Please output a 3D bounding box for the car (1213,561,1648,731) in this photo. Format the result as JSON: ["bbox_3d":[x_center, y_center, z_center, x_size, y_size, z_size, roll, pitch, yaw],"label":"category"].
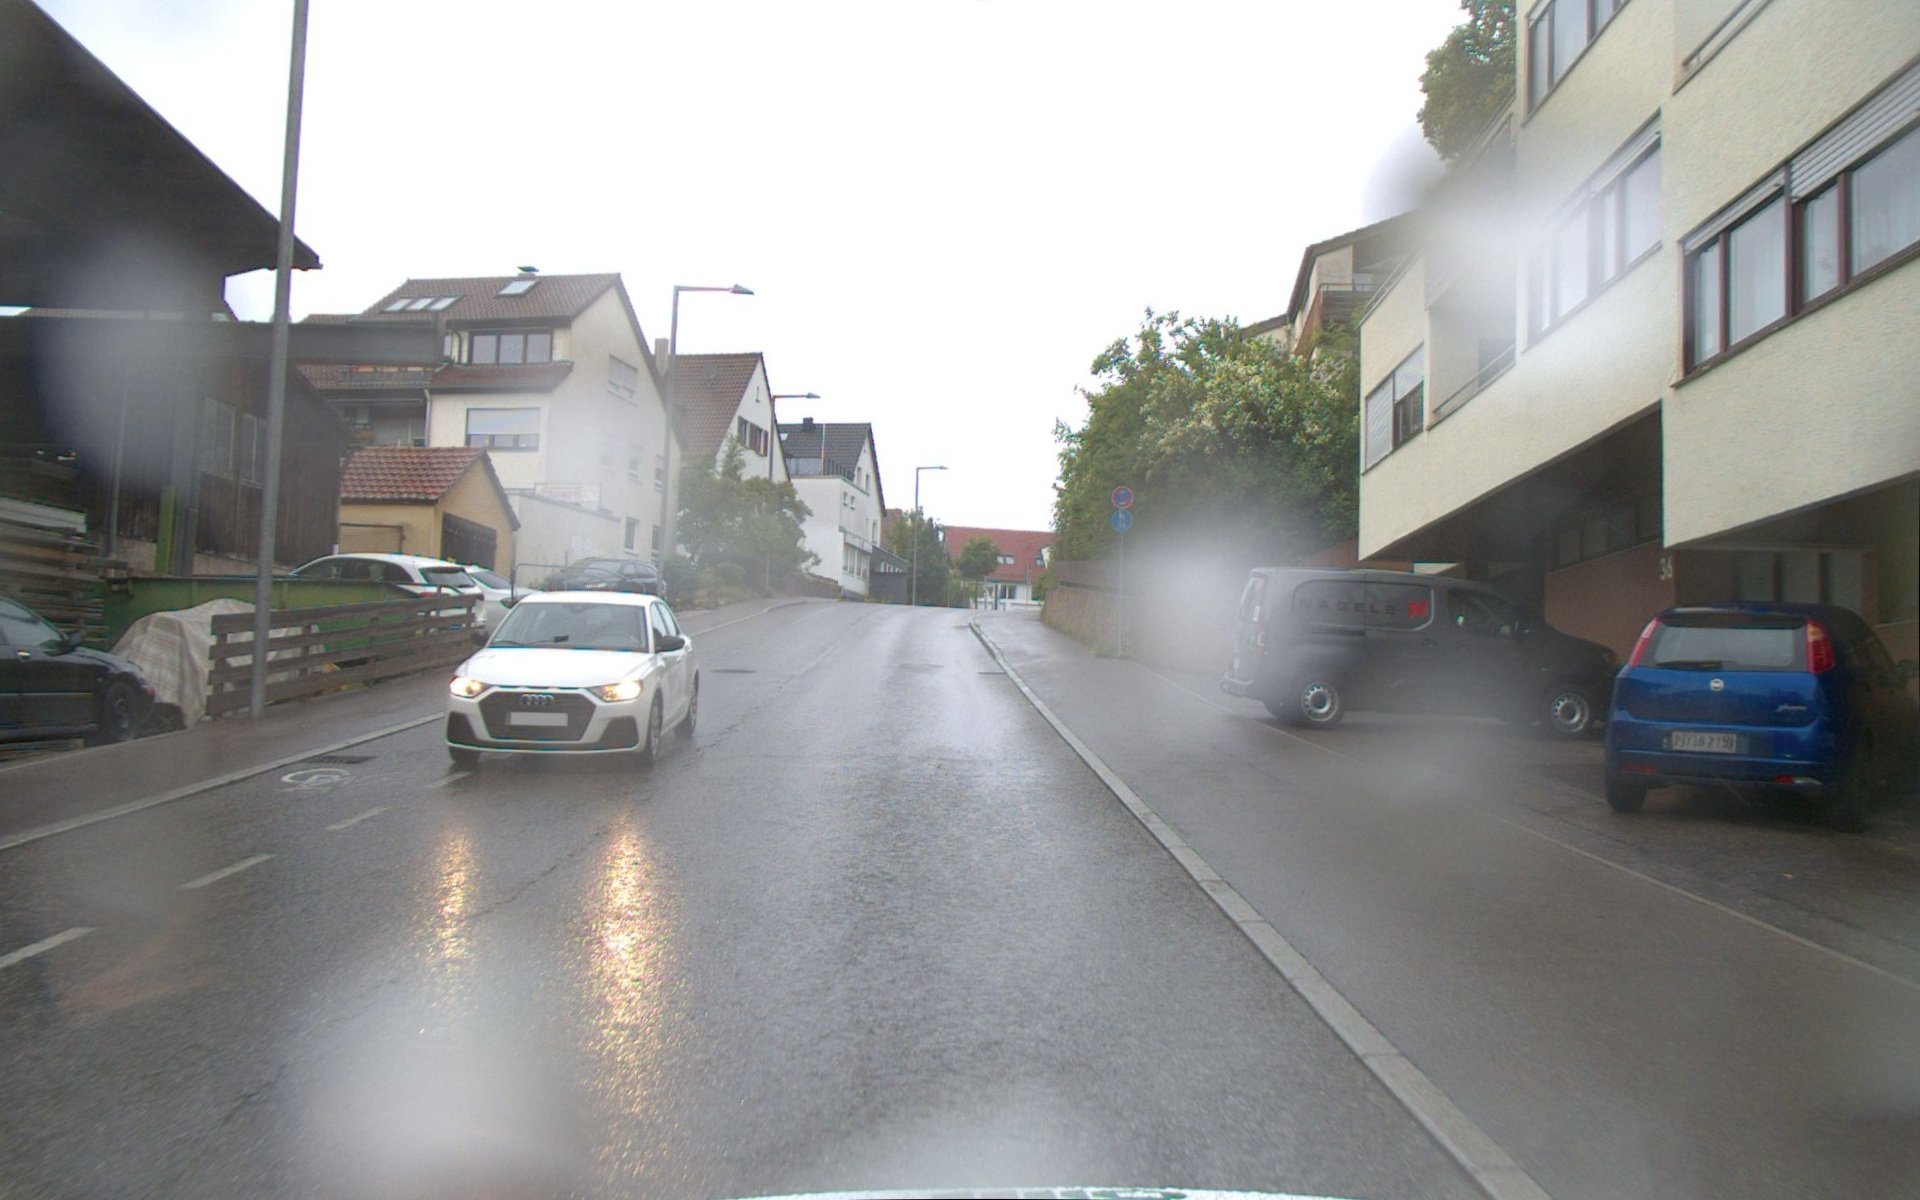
[{"bbox_3d":[5.518,0.519,19.824,4.612,1.852,1.999,1,0,-2],"label":"car"}]

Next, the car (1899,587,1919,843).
[{"bbox_3d":[6.553,0.735,9.416,1.747,1.606,4.063,3,0,26],"label":"car"}]

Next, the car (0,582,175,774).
[{"bbox_3d":[-8.254,0.597,13.169,1.855,1.466,4.446,0,0,0],"label":"car"}]

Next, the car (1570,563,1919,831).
[{"bbox_3d":[6.127,0.655,12.491,1.753,1.606,4.050,3,0,36],"label":"car"}]

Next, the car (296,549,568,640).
[{"bbox_3d":[-9.750,-0.113,30.690,4.400,1.531,1.902,1,0,11],"label":"car"}]

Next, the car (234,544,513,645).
[{"bbox_3d":[-9.678,-0.099,27.433,3.902,1.531,1.902,1,0,11],"label":"car"}]

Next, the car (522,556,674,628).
[{"bbox_3d":[-9.163,-0.200,42.318,1.932,1.688,4.967,1,0,11],"label":"car"}]

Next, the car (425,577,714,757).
[{"bbox_3d":[-3.402,0.537,15.160,1.668,1.412,4.050,-1,0,0],"label":"car"}]
